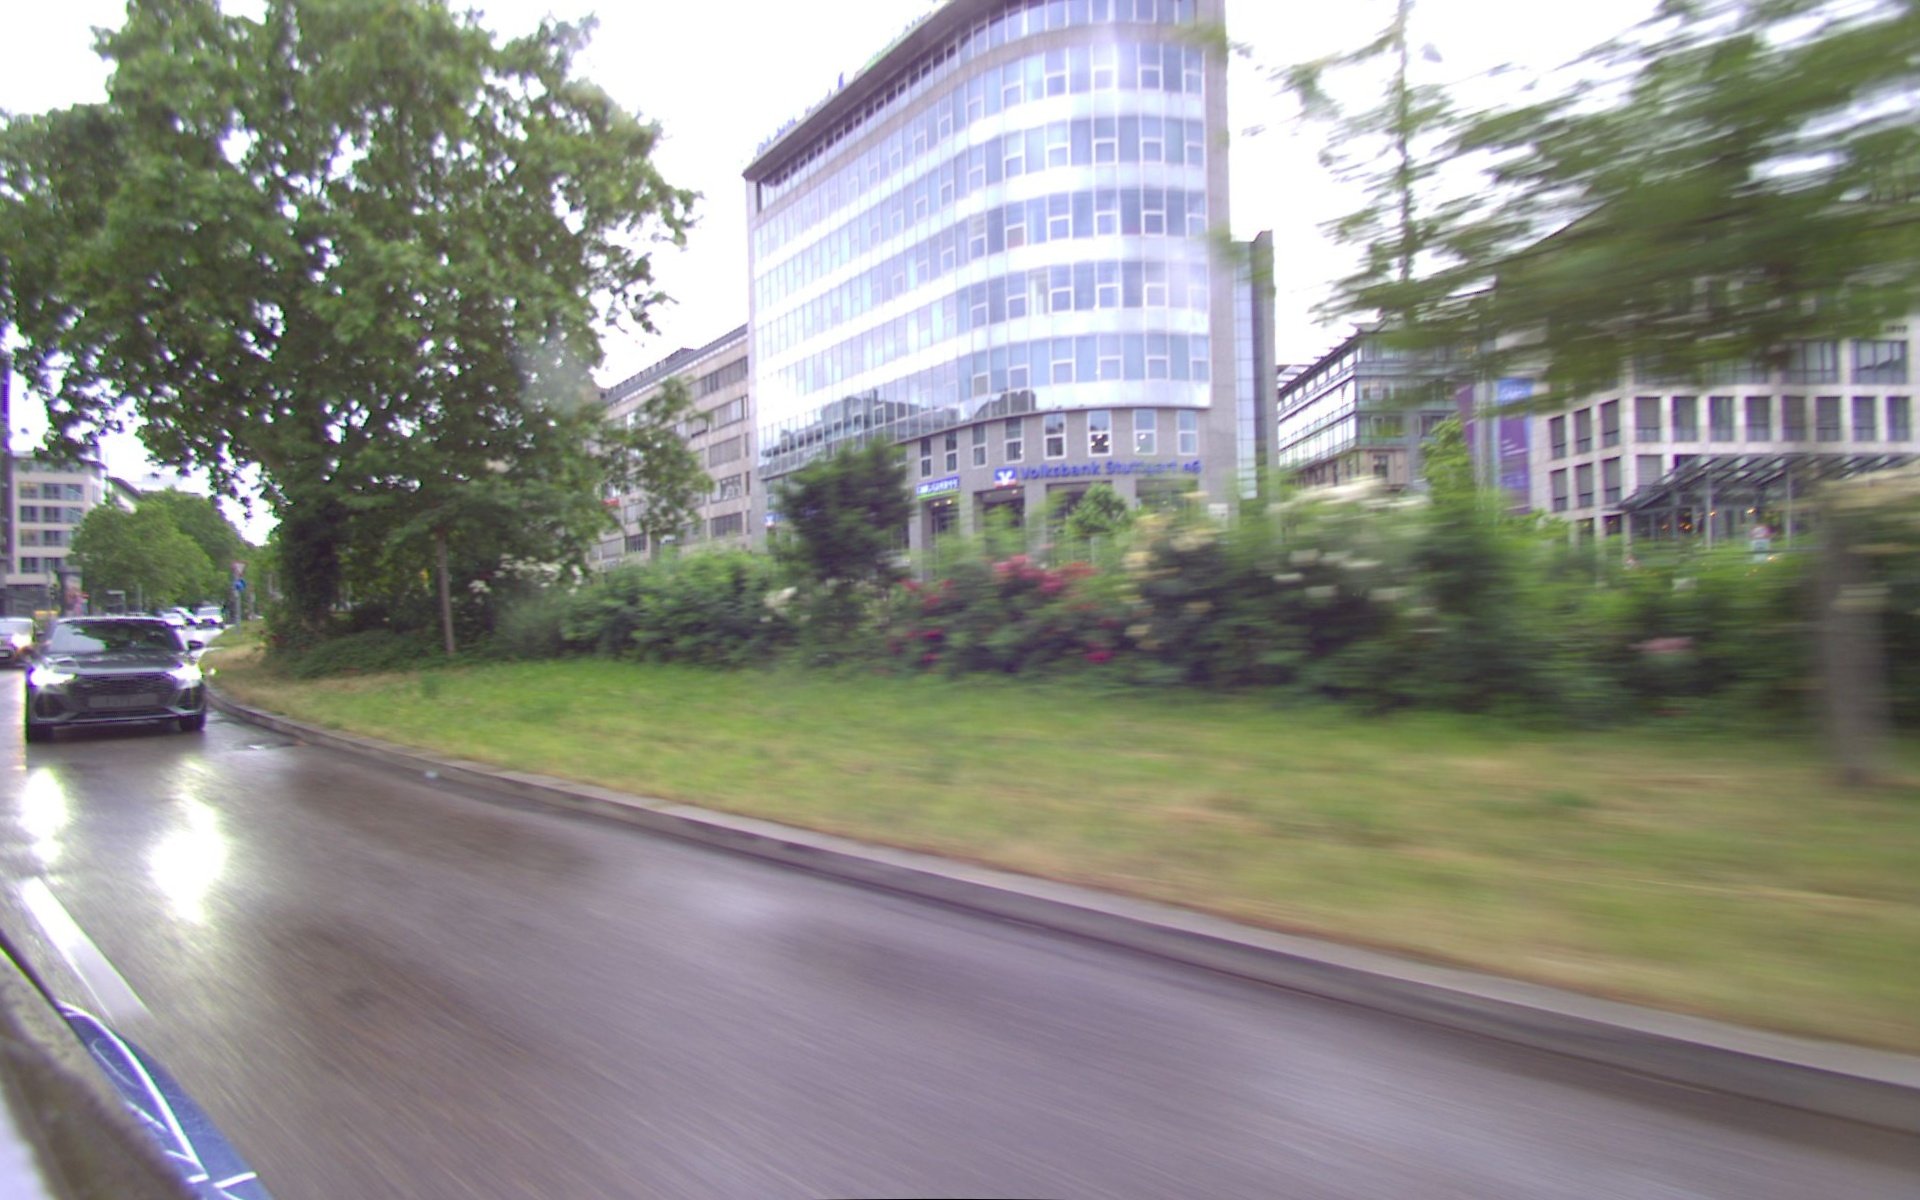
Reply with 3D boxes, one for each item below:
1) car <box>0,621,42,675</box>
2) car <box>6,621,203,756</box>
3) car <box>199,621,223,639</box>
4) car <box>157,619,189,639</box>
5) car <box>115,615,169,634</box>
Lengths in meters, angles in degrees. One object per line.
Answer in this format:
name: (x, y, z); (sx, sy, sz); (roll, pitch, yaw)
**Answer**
car: (-28.568, 1.402, 30.161); (1.570, 1.522, 3.716); (-1, 0, -39)
car: (-11.925, 1.081, 14.086); (1.838, 1.529, 4.350); (-1, 0, -42)
car: (-63.471, 2.498, 85.782); (1.580, 1.396, 3.027); (-3, 1, -36)
car: (-70.907, 2.564, 91.199); (2.040, 1.599, 4.117); (-3, 1, -36)
car: (-88.010, 2.663, 108.906); (4.153, 1.826, 2.001); (-2, 1, -1)
